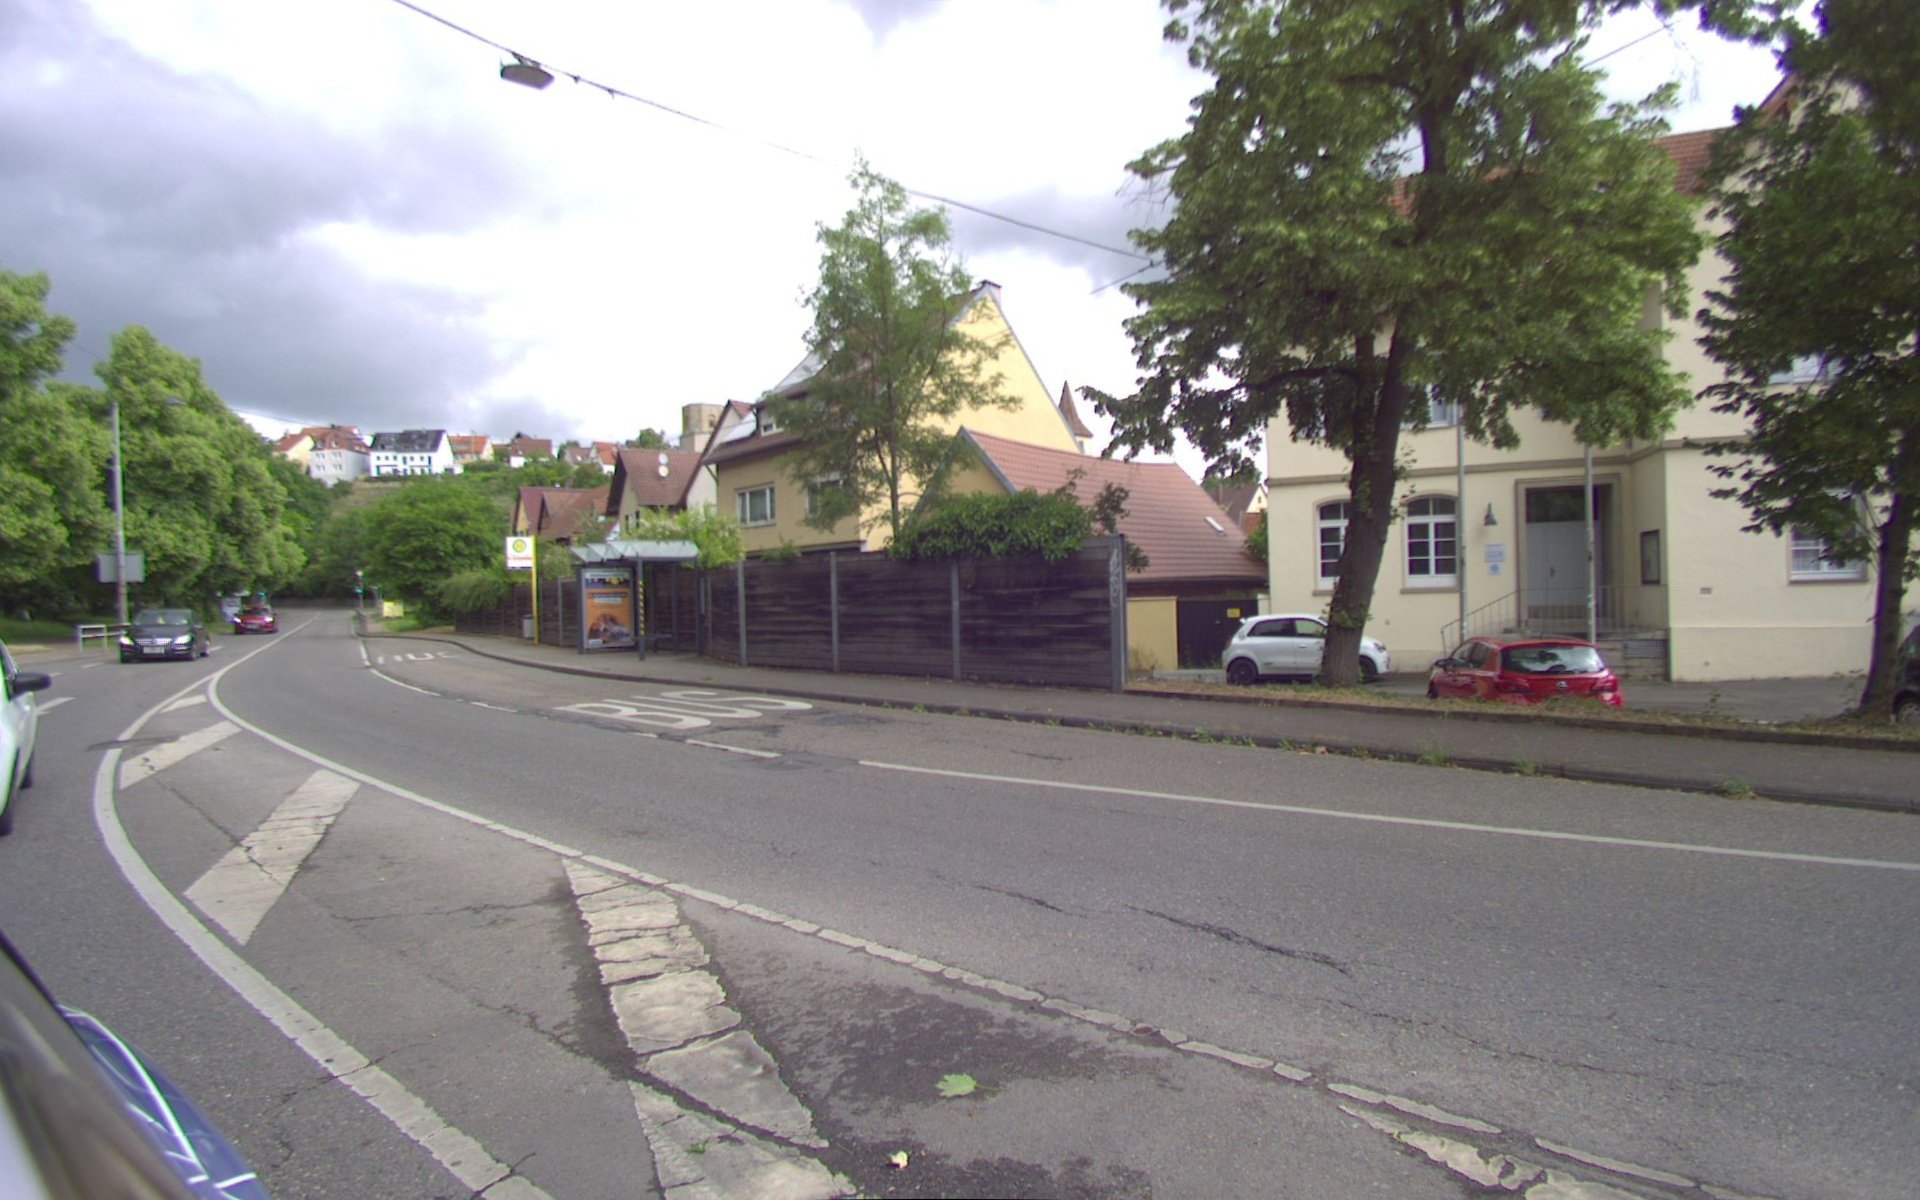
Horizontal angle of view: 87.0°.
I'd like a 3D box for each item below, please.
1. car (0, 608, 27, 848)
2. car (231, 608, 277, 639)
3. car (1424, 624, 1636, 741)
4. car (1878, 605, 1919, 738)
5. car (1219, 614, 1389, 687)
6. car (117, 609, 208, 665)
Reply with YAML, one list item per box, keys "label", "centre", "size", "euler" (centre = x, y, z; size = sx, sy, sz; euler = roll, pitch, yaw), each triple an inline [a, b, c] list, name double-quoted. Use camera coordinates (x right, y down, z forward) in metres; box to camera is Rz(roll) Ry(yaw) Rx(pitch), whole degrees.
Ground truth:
- label: "car"
  centre: [-7.765, 0.843, 7.134]
  size: [1.594, 1.525, 3.610]
  euler: [-1, 0, -41]
- label: "car"
  centre: [-39.976, 1.289, 57.339]
  size: [1.798, 1.685, 4.070]
  euler: [-1, 0, -30]
- label: "car"
  centre: [8.127, 1.104, 14.772]
  size: [1.590, 1.389, 3.544]
  euler: [-1, 0, 10]
- label: "car"
  centre: [12.700, 0.888, 11.589]
  size: [1.586, 1.644, 3.093]
  euler: [-1, 0, 2]
- label: "car"
  centre: [7.748, 1.107, 22.928]
  size: [3.487, 1.528, 1.581]
  euler: [-1, 0, 20]
- label: "car"
  centre: [-24.180, 1.063, 30.807]
  size: [1.696, 1.559, 3.793]
  euler: [-1, 0, -31]
